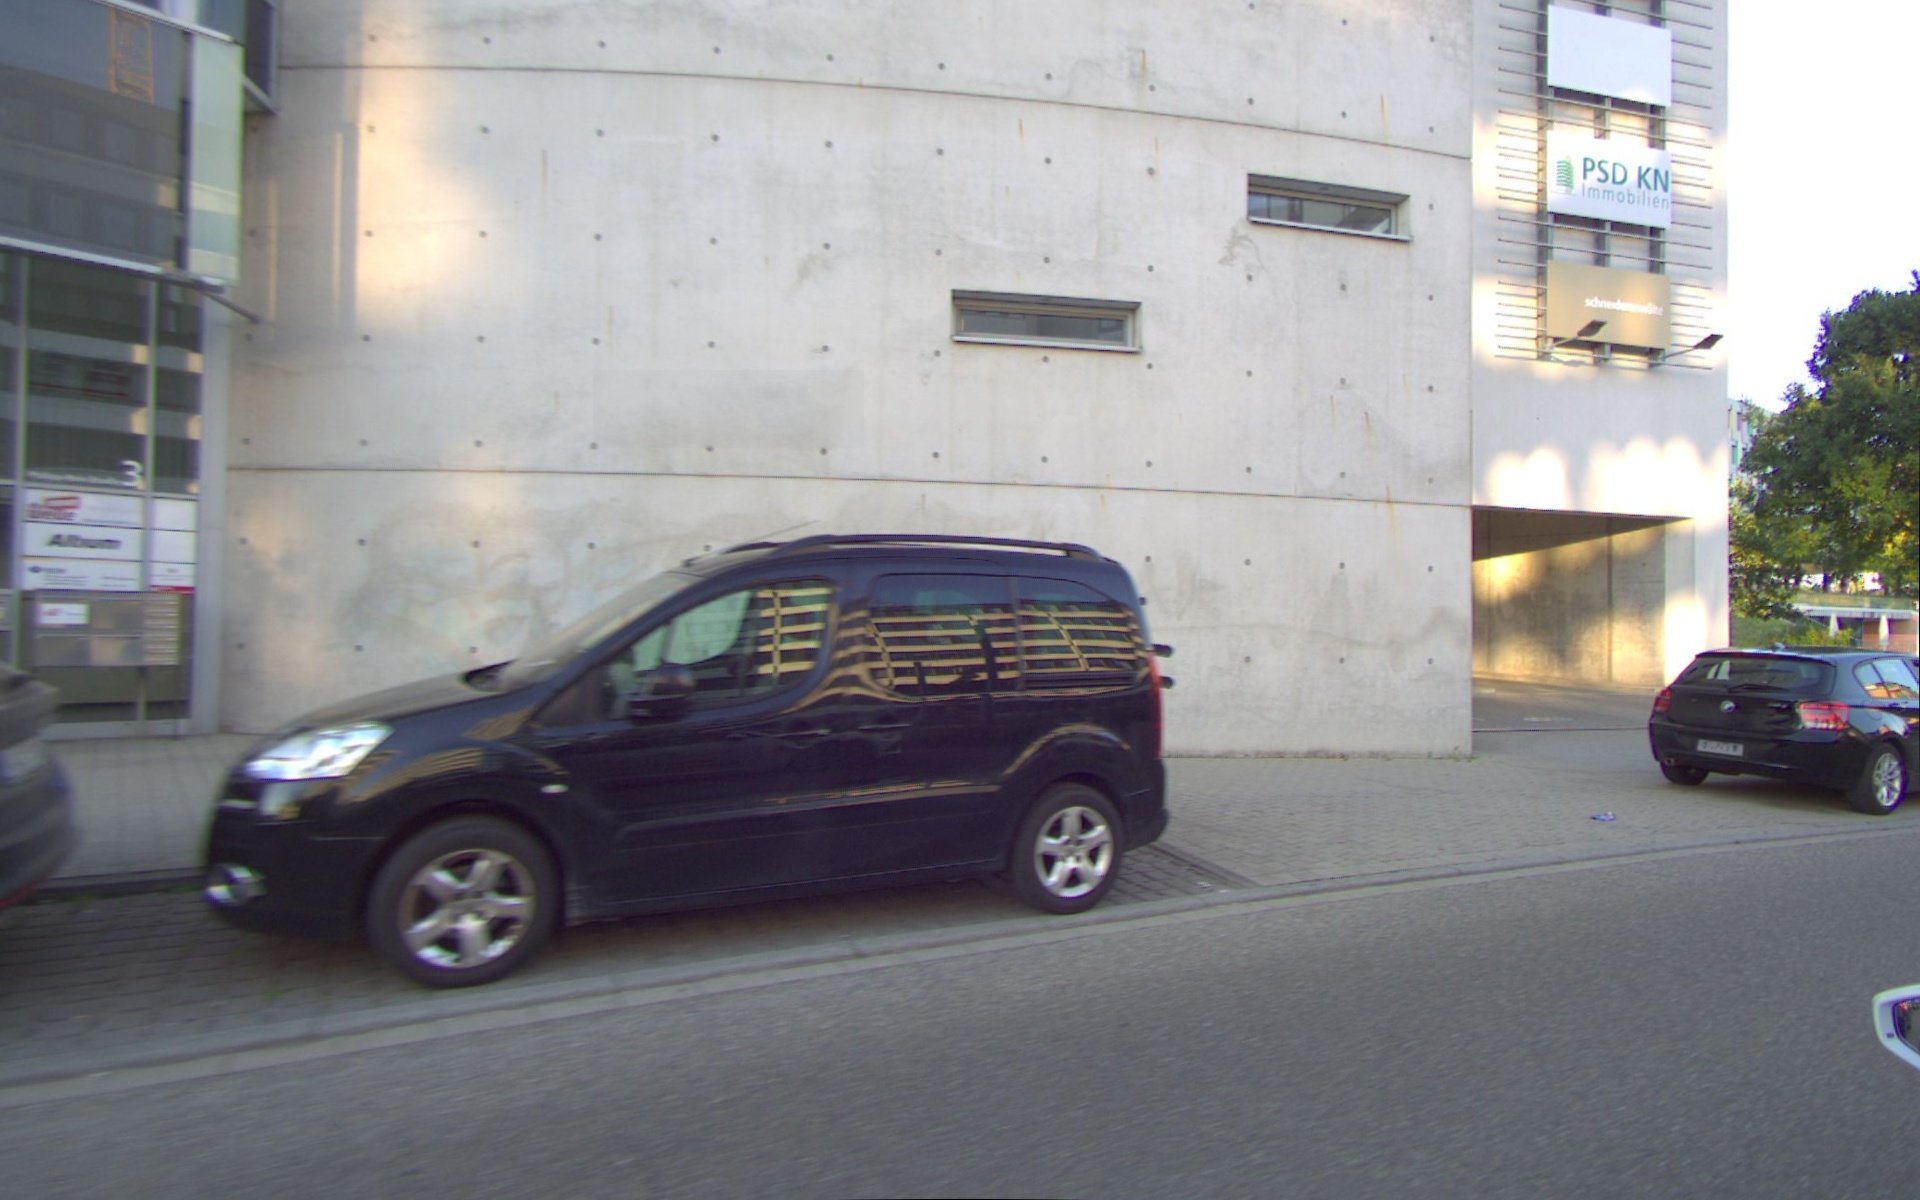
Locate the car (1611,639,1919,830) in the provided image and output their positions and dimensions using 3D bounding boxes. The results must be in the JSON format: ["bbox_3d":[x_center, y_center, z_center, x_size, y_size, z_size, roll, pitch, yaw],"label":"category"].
[{"bbox_3d":[8.635,1.176,9.802,4.169,1.461,1.848,2,0,-24],"label":"car"}]

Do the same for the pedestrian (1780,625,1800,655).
[{"bbox_3d":[52.654,2.554,63.714,0.777,1.861,0.616,2,0,-16],"label":"pedestrian"}]

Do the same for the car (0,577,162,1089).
[{"bbox_3d":[-5.116,0.612,2.636,4.469,1.496,1.851,2,0,-31],"label":"car"}]

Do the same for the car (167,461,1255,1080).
[{"bbox_3d":[-0.913,0.601,5.058,4.457,1.999,1.883,2,0,-25],"label":"car"}]
